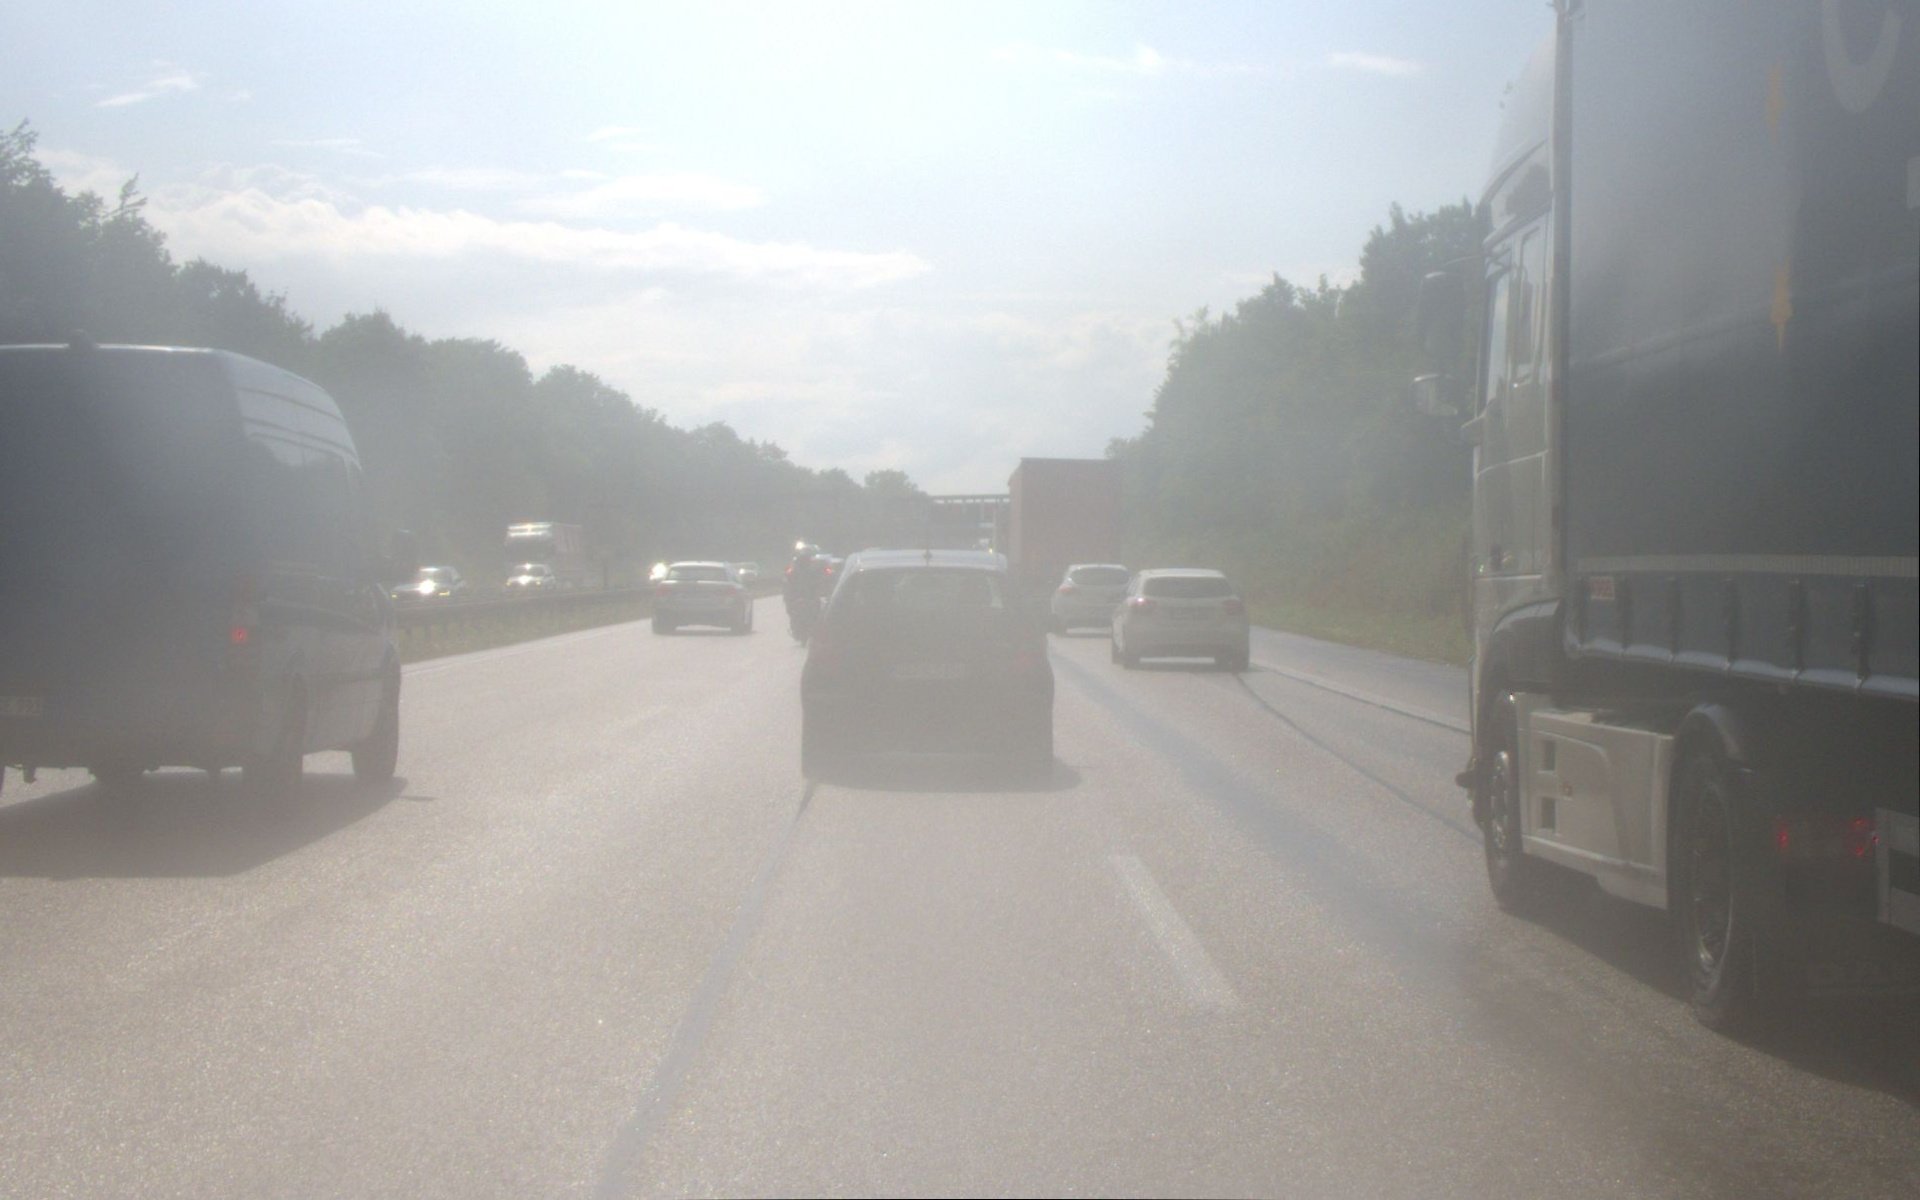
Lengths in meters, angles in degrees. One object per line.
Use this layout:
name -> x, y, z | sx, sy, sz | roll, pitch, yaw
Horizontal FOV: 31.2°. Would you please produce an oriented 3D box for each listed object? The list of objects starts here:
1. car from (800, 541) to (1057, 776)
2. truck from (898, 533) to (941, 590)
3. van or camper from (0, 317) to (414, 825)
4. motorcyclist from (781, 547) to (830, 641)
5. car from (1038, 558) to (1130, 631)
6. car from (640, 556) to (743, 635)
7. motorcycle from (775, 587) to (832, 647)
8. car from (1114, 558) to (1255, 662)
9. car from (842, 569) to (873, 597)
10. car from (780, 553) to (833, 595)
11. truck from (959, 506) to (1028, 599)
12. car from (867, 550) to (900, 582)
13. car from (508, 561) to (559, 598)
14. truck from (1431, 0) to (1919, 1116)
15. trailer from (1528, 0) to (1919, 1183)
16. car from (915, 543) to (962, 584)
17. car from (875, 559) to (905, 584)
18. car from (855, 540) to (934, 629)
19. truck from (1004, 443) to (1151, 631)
car -> -0.235, 0.385, 24.956 | 1.717, 1.562, 3.485 | 1, 0, -1
truck -> -2.115, -1.988, 178.788 | 2.192, 2.865, 4.850 | 1, 0, -1
van or camper -> -4.717, -0.175, 20.832 | 1.993, 2.659, 5.385 | 1, 0, -1
motorcyclist -> -2.716, -0.111, 60.627 | 0.801, 1.627, 1.013 | 1, 0, -1
car -> 2.520, -0.122, 70.683 | 1.680, 1.437, 3.905 | 1, 0, -1
car -> -5.452, -0.106, 70.252 | 1.854, 1.546, 3.485 | 1, 0, -1
motorcycle -> -2.735, 0.286, 60.414 | 0.890, 0.997, 2.896 | 1, 0, -1
car -> 3.218, 0.126, 49.943 | 1.692, 1.420, 4.220 | 1, 0, -1
car -> -5.224, -0.882, 175.124 | 1.485, 1.385, 3.198 | 1, 0, -1
car -> -5.452, -0.910, 122.629 | 1.751, 1.452, 3.390 | 1, 0, -1
truck -> 1.723, -2.327, 172.010 | 3.256, 4.464, 12.421 | 1, 0, 1
car -> -4.809, -2.153, 216.322 | 1.993, 2.007, 4.000 | 0, 1, 0
car -> -19.784, -0.972, 159.542 | 1.828, 1.657, 4.631 | 1, 0, -1
truck -> 3.602, -0.639, 12.733 | 2.607, 3.982, 7.290 | 1, 0, 0
trailer -> 3.662, -0.562, 6.678 | 2.634, 3.982, 14.065 | 1, 0, 0
car -> -0.745, -1.245, 117.758 | 1.552, 1.378, 3.210 | 1, 0, -1
car -> -4.914, -2.029, 241.604 | 1.993, 1.695, 4.000 | 0, 1, 0
car -> -1.308, -0.318, 69.148 | 1.531, 1.740, 3.485 | 1, 0, -1
truck -> 3.108, -1.665, 95.436 | 3.650, 4.704, 16.778 | 1, 0, 1
